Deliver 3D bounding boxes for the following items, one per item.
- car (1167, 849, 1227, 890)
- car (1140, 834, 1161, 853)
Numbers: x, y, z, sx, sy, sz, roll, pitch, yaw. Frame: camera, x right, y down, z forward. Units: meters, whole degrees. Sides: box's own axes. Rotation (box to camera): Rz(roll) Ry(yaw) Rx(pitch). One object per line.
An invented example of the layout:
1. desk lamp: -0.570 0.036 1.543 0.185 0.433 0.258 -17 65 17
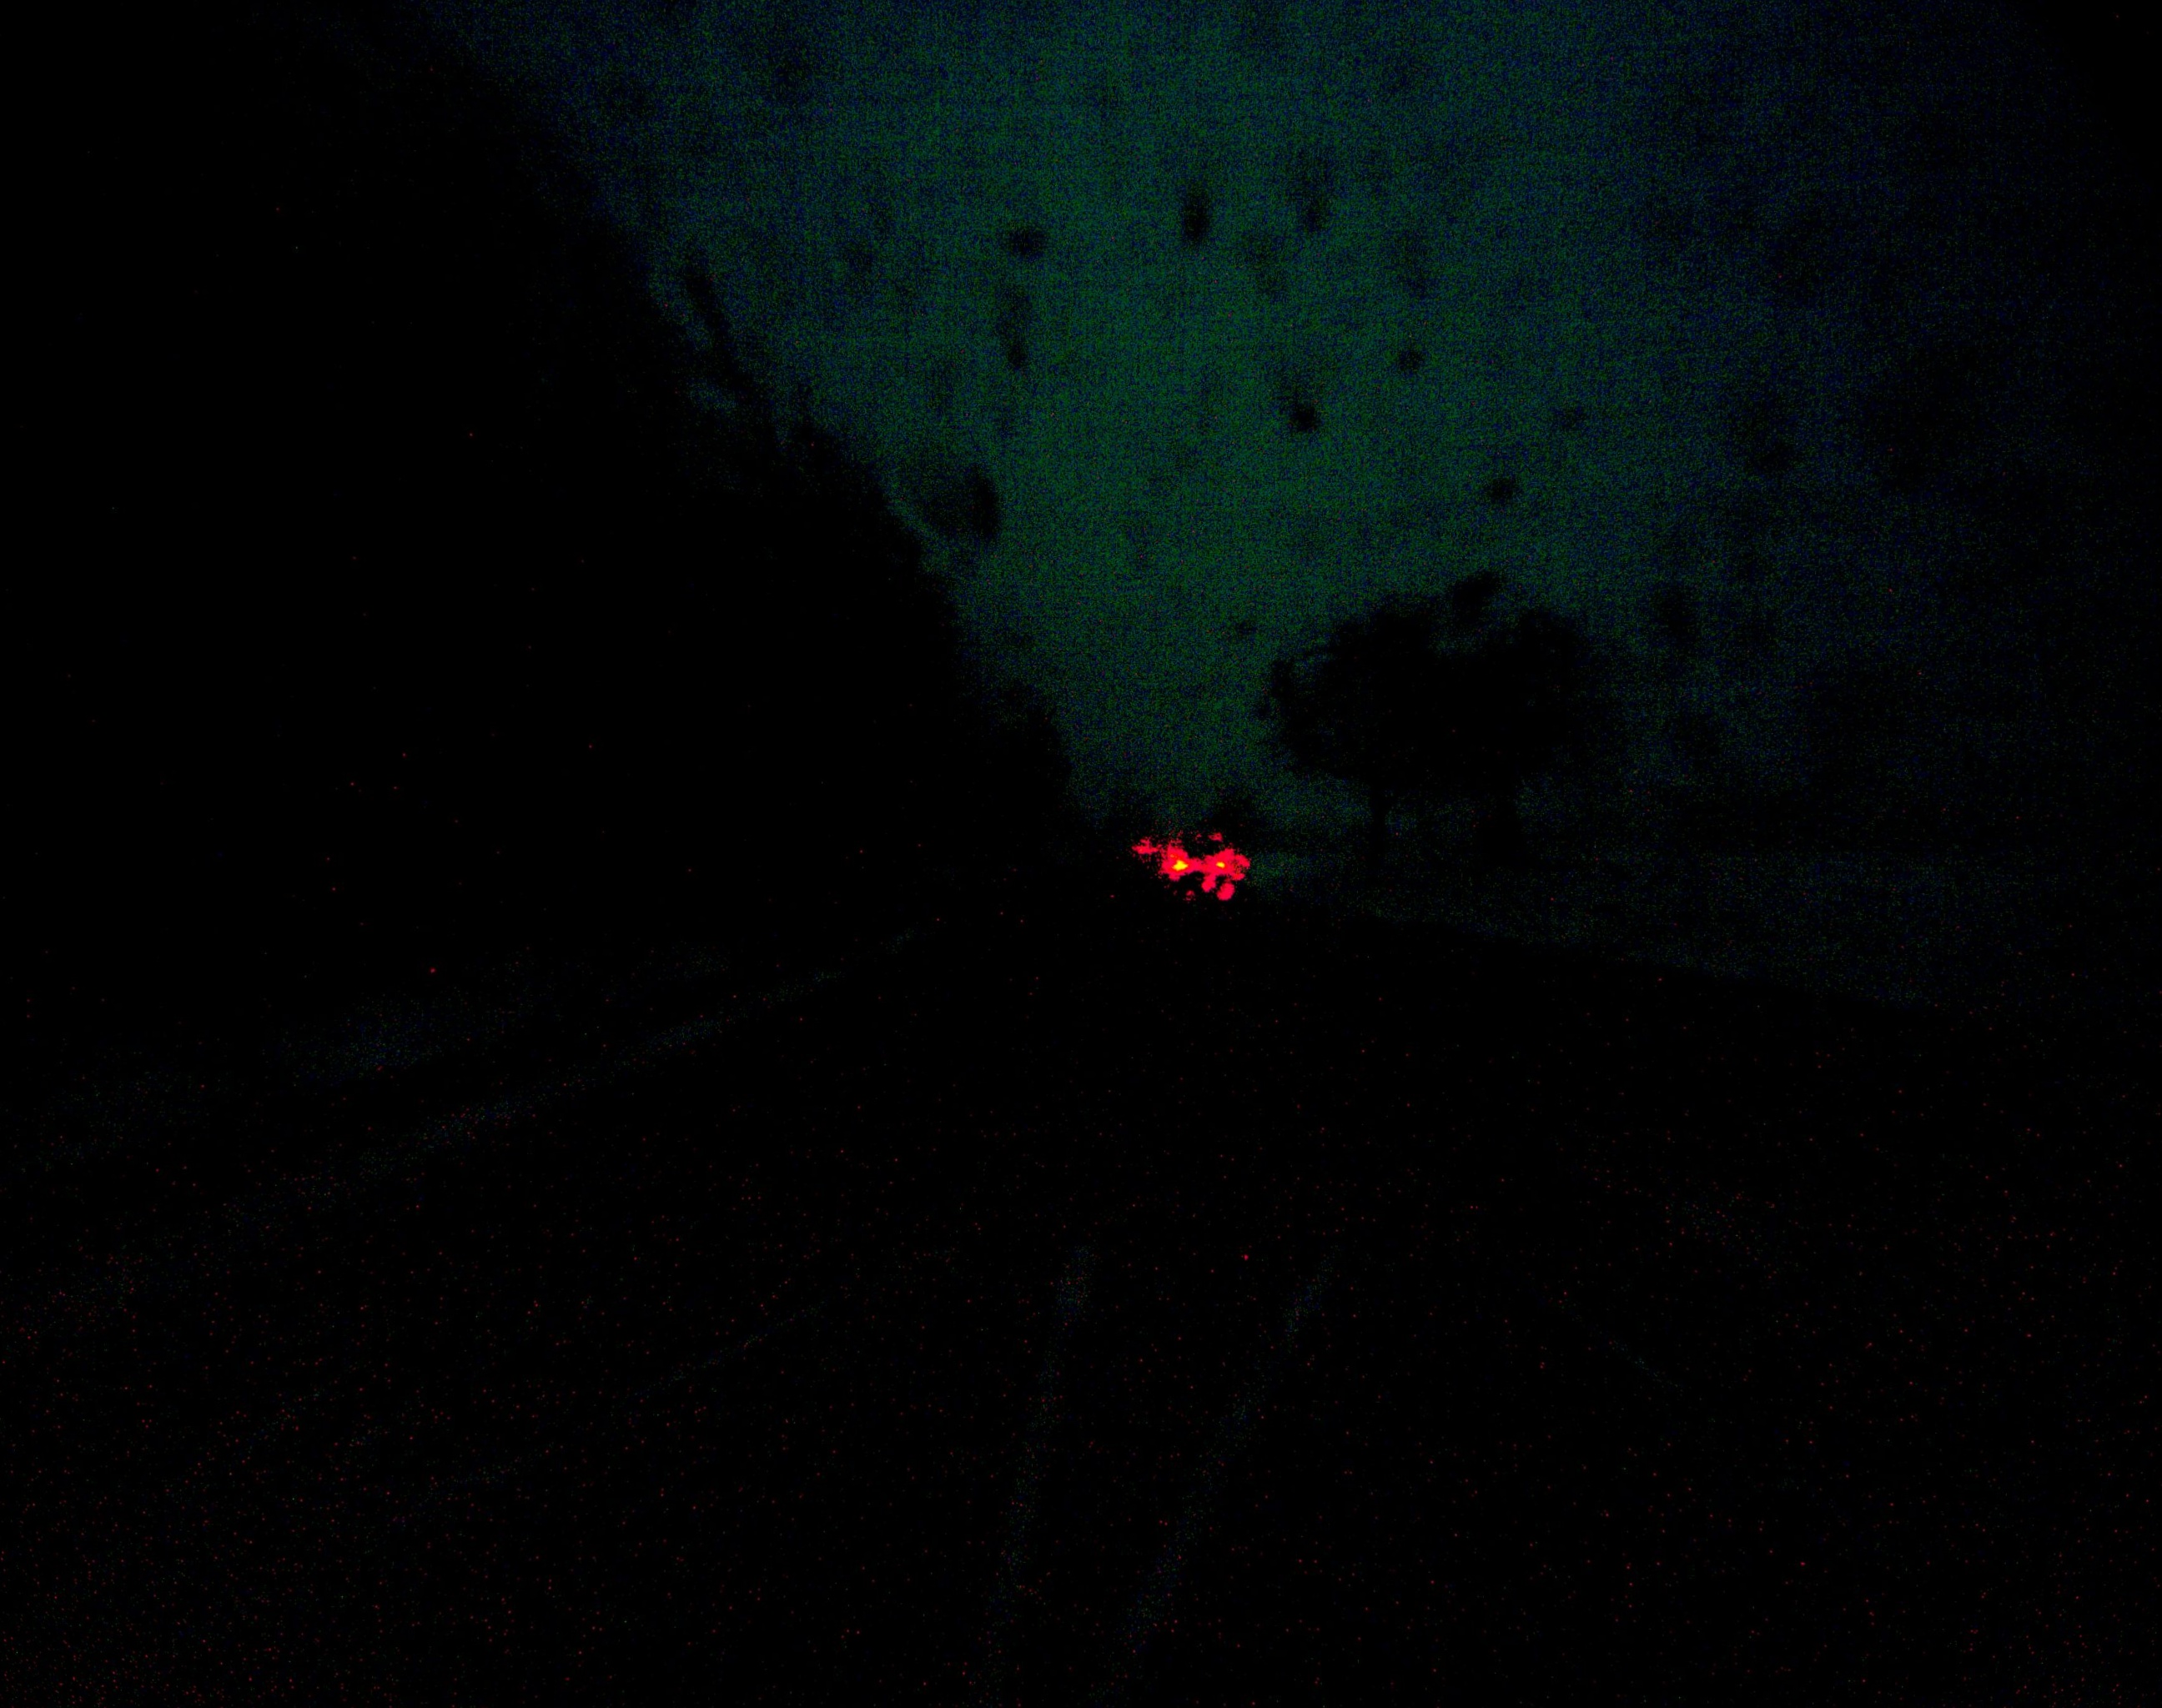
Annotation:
1. car: 4.433 0.556 29.586 1.746 1.477 4.004 0 0 0
2. car: 6.637 -0.996 72.504 1.755 1.683 4.428 -1 1 8
